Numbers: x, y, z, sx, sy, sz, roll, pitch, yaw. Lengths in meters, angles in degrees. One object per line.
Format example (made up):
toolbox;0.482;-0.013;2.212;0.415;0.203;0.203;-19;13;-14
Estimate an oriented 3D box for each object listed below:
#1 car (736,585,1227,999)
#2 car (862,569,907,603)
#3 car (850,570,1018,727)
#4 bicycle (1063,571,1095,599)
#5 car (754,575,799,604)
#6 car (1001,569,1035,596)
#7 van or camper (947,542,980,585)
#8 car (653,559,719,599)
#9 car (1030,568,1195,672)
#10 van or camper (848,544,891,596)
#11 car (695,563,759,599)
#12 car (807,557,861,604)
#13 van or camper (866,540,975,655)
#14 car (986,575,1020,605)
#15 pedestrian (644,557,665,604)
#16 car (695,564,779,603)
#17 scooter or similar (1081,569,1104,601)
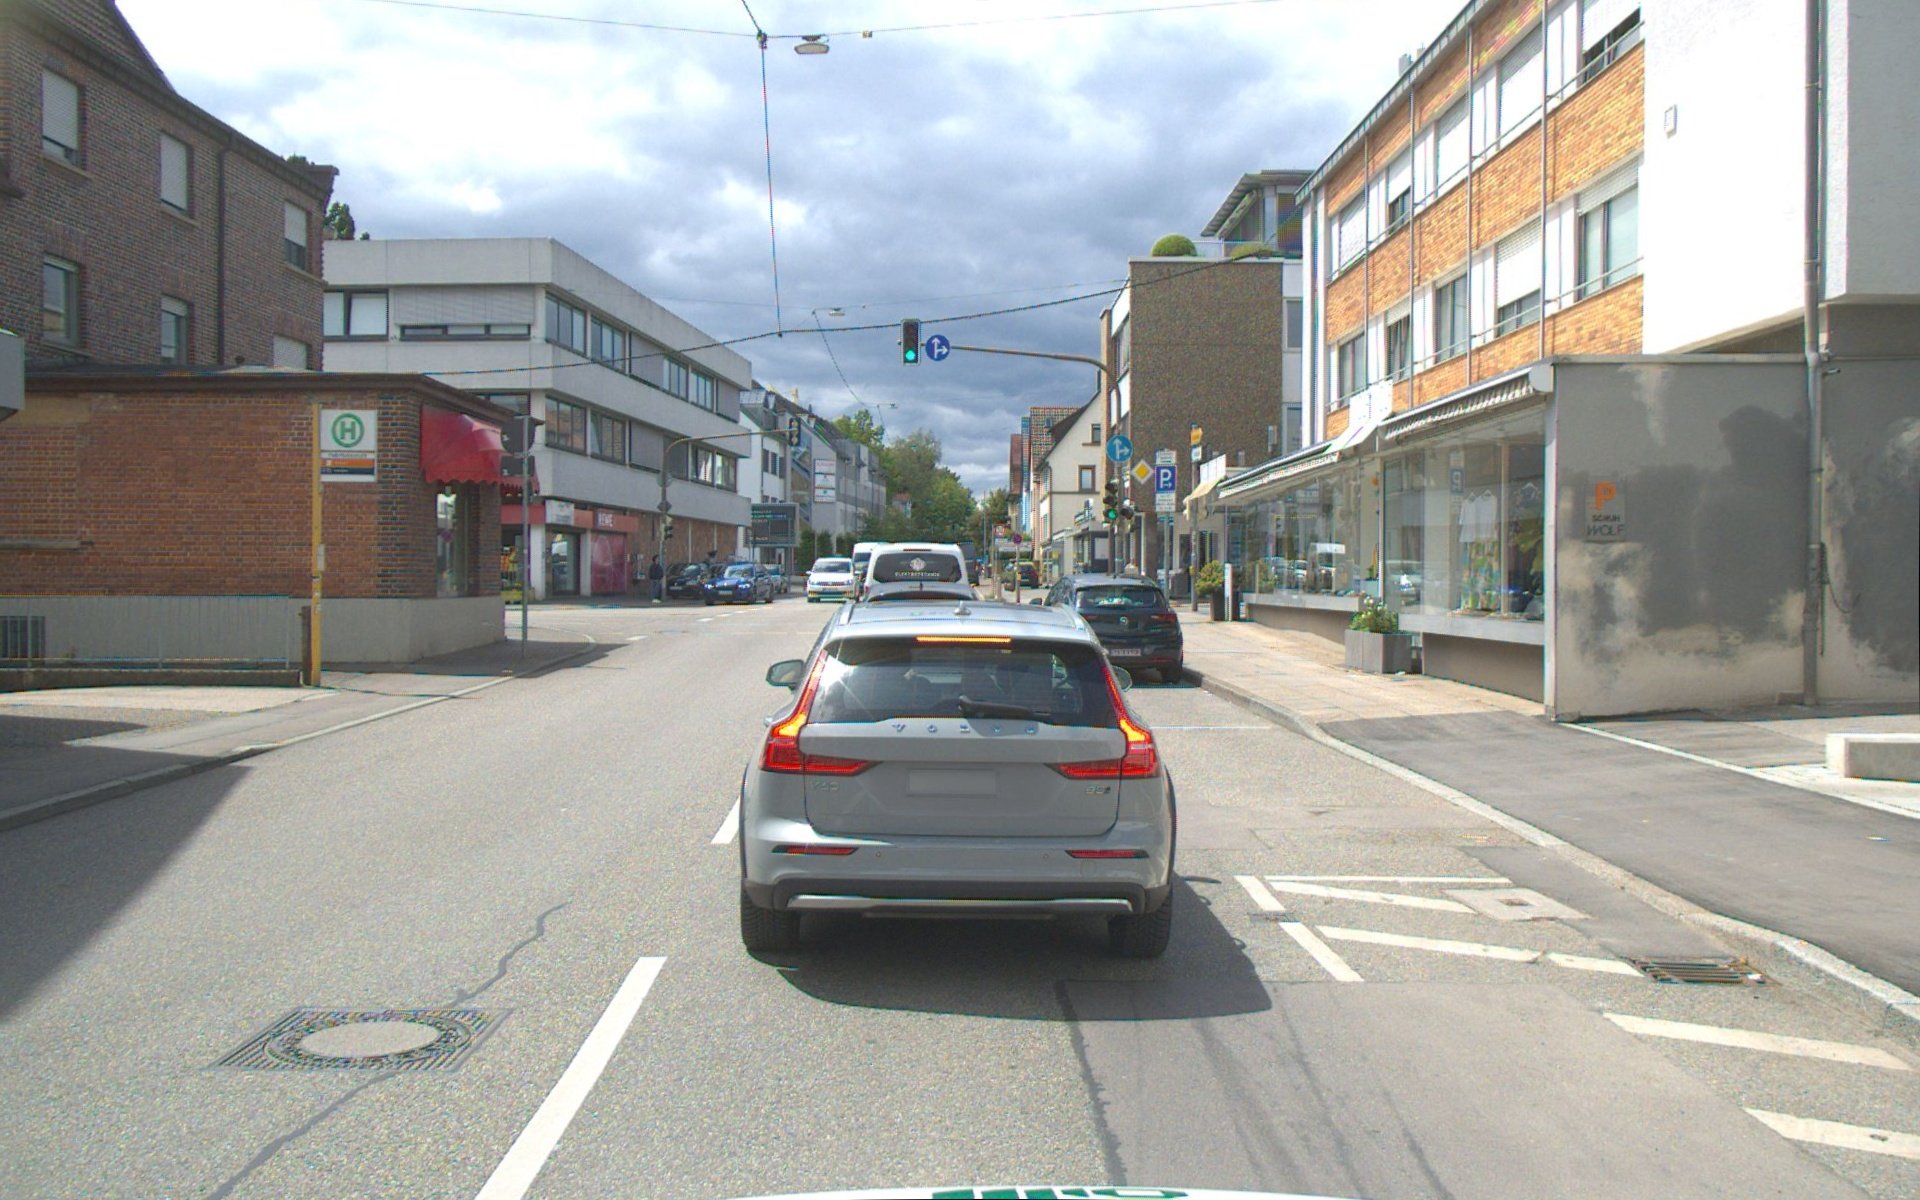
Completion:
car;0.051;0.697;8.063;1.798;1.512;3.999;0;0;-1
car;-3.473;-0.632;76.452;1.753;1.537;3.846;0;0;2
car;-0.279;0.454;17.903;1.617;1.508;3.607;1;1;-1
bicycle;5.102;-0.639;70.881;0.546;1.164;2.288;-1;1;-18
car;-9.312;-0.522;84.061;1.719;1.451;3.863;0;0;2
car;3.326;-0.977;95.819;1.676;1.490;3.998;1;0;-2
van or camper;0.236;-2.382;107.701;2.080;2.733;4.782;0;1;0
car;-10.967;-0.851;66.450;1.747;1.490;4.089;2;1;3
car;2.104;0.261;23.800;1.772;1.370;3.714;0;0;-5
van or camper;-4.644;-1.587;85.862;2.105;2.600;5.436;-1;2;-2
car;-10.154;-0.873;72.234;1.864;1.468;4.446;2;1;4
car;-4.691;-0.773;61.922;1.739;1.640;4.120;-1;2;-1
van or camper;-0.680;-0.109;29.277;1.782;1.866;4.000;0;2;-1
car;1.927;-0.439;75.471;1.409;1.310;3.247;0;0;-1
pedestrian;-11.007;-0.714;59.520;0.606;1.670;0.660;0;1;1
car;-8.117;-0.621;60.700;1.951;1.361;4.360;0;1;8
scooter or similar;5.401;-0.592;67.529;0.336;1.275;1.235;-3;1;-26
